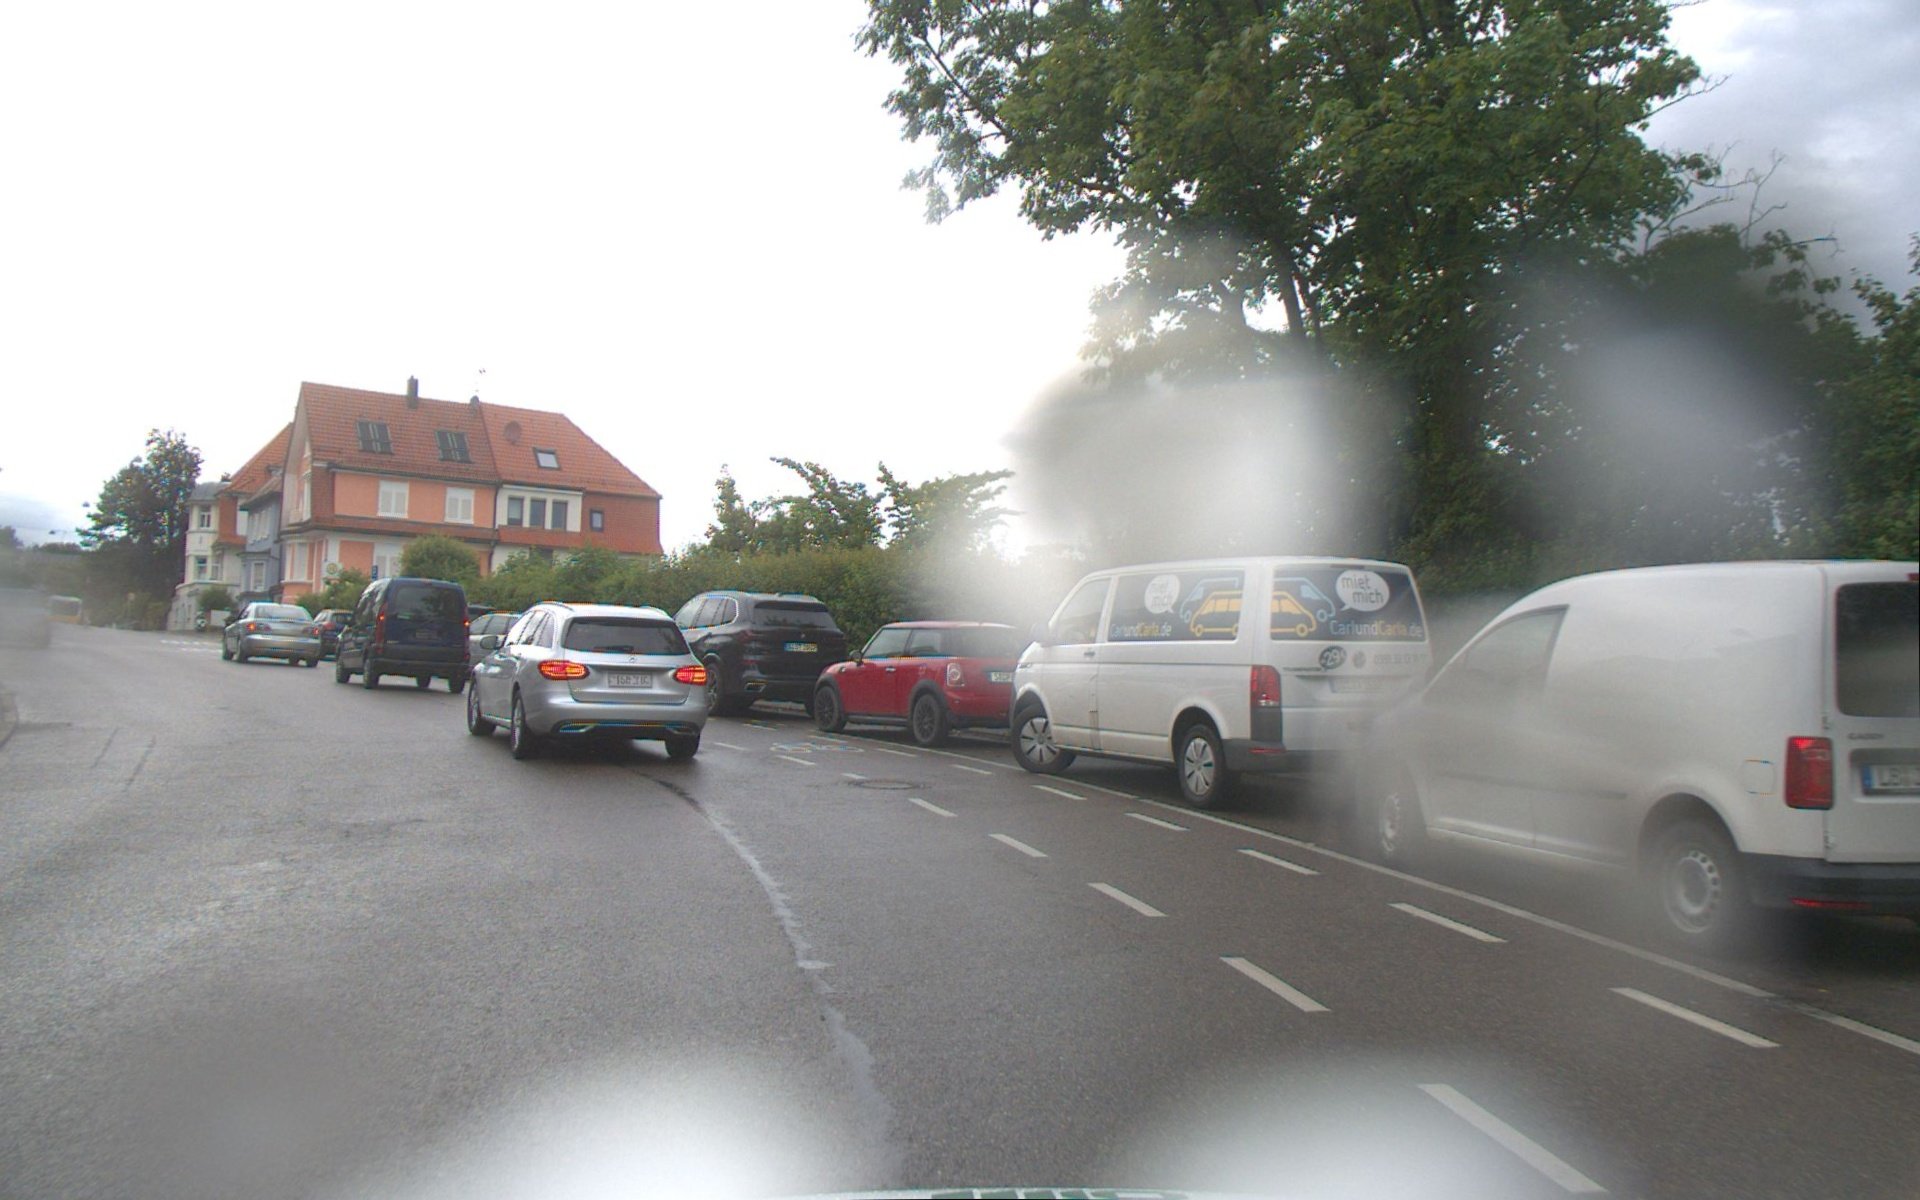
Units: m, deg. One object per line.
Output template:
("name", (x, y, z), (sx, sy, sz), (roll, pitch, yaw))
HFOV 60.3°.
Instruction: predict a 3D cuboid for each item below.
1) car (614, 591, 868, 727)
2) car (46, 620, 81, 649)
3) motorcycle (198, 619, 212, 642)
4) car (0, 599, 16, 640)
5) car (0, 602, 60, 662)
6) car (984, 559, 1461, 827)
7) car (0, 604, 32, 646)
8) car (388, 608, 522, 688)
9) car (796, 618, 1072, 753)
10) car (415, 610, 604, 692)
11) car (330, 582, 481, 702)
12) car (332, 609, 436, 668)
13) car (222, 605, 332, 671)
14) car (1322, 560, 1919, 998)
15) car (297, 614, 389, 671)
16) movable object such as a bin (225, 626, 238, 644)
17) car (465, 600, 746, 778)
("car", (-3.436, 0.833, 25.096), (2.006, 1.814, 4.847), (4, -2, -31))
("car", (-77.071, 2.963, 142.088), (2.442, 2.442, 3.957), (1, -1, -31))
("motorcycle", (-44.347, 1.796, 97.178), (0.575, 1.284, 2.309), (2, -2, -28))
("car", (-38.457, 0.702, 65.269), (1.879, 1.541, 4.296), (6, -3, -31))
("car", (-26.597, 0.879, 46.646), (1.879, 1.595, 4.192), (3, -2, -31))
("car", (2.099, 0.716, 14.809), (1.837, 1.982, 4.768), (2, -1, -26))
("car", (-33.276, 0.823, 57.487), (1.593, 1.361, 3.800), (5, -3, -31))
("car", (-12.251, 1.126, 39.932), (1.869, 1.692, 4.497), (6, -3, -32))
("car", (-0.413, 1.011, 20.341), (1.655, 1.439, 3.700), (4, -2, -33))
("car", (-9.655, 1.066, 35.228), (4.565, 1.465, 1.792), (1, -3, 45))
("car", (-9.661, 0.654, 28.645), (1.804, 1.915, 4.056), (0, 1, -29))
("car", (-16.022, 1.052, 45.884), (1.697, 1.430, 4.557), (5, -3, -32))
("car", (-16.294, 0.927, 39.355), (1.835, 1.484, 4.050), (0, -2, -32))
("car", (3.876, 0.761, 9.188), (1.829, 1.801, 4.360), (1, -1, -16))
("car", (-18.878, 1.282, 50.514), (1.737, 1.557, 4.159), (5, -3, -32))
("movable object such as a bin", (-39.281, 1.878, 89.222), (0.543, 0.952, 0.627), (1, -1, -31))
("car", (-3.782, 0.830, 17.048), (1.957, 1.581, 4.264), (1, -1, -24))
